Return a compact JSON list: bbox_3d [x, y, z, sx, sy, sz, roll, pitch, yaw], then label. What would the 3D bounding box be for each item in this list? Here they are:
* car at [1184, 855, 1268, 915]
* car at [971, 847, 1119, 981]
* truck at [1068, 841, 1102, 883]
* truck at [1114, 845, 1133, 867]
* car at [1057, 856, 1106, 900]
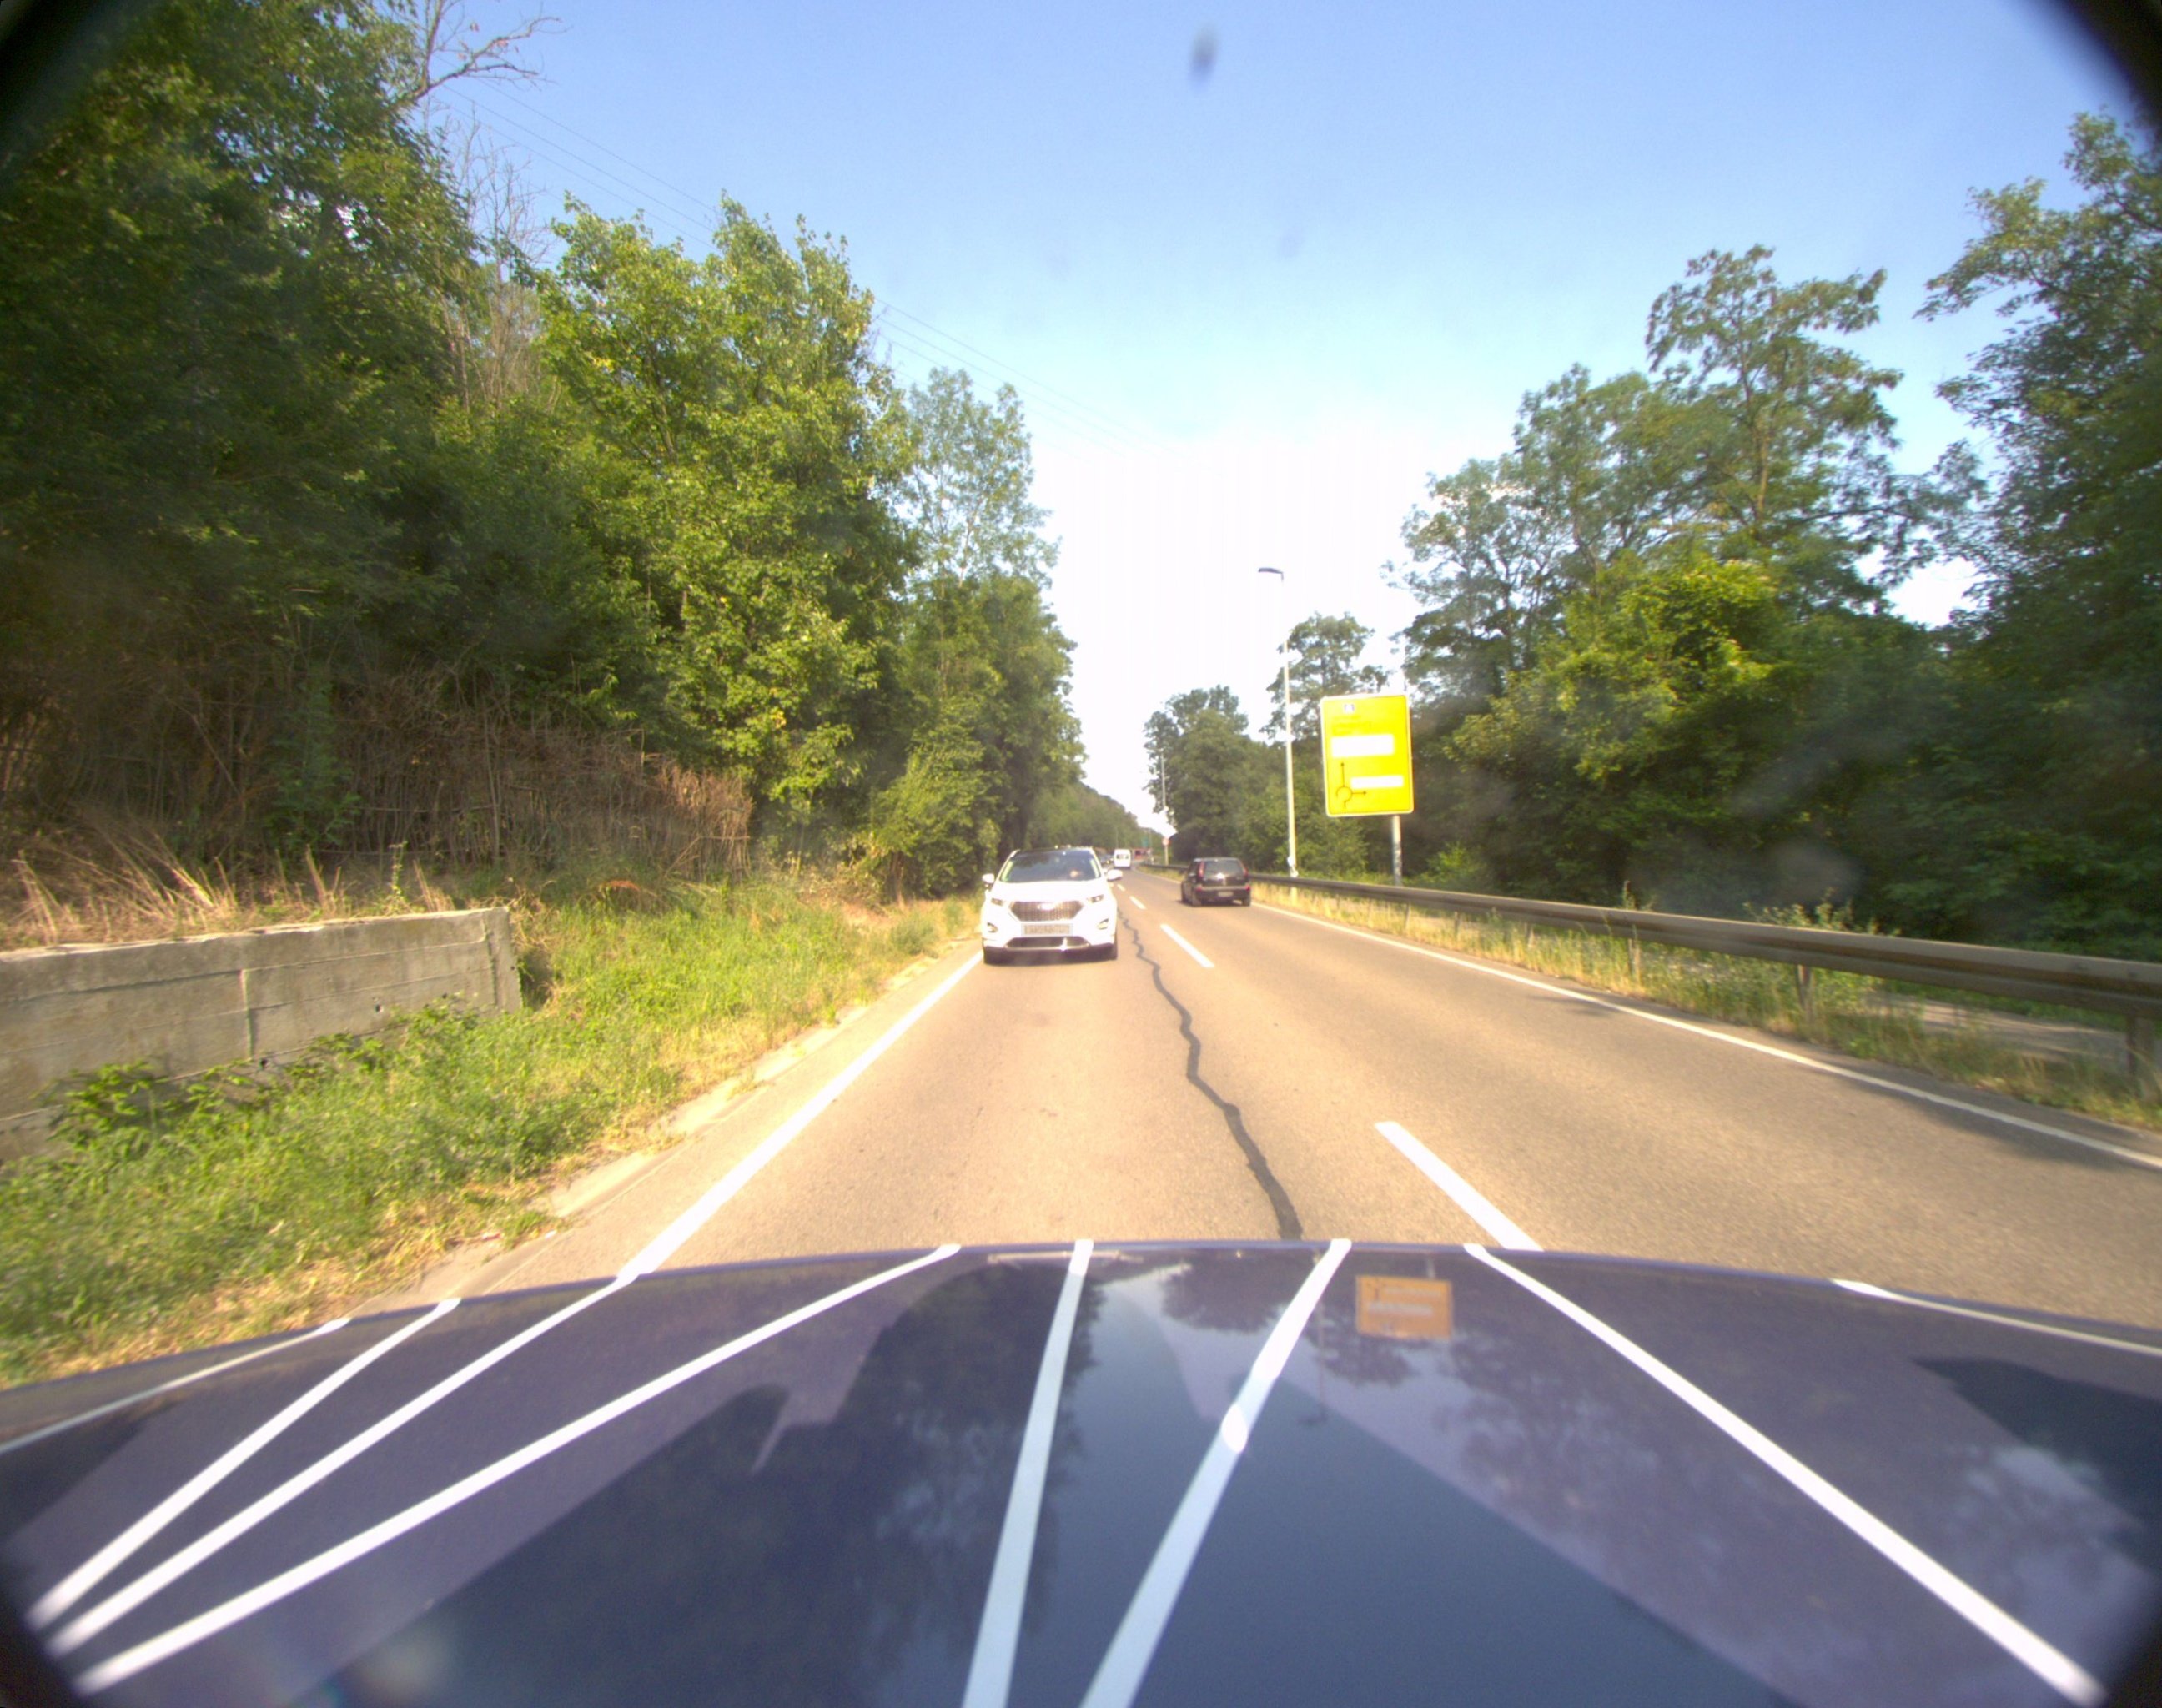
[{"bbox_3d":[3.928,0.787,21.120,1.685,1.433,4.000,-1,0,2],"label":"car"},{"bbox_3d":[-0.448,0.789,12.130,1.894,1.691,4.136,-3,0,1],"label":"car"},{"bbox_3d":[0.273,0.463,46.601,1.894,2.334,5.273,-2,0,1],"label":"truck"},{"bbox_3d":[5.031,0.198,89.662,2.062,2.371,5.874,-2,1,4],"label":"truck"},{"bbox_3d":[0.054,0.864,29.303,1.704,1.477,4.136,-2,0,1],"label":"car"}]
